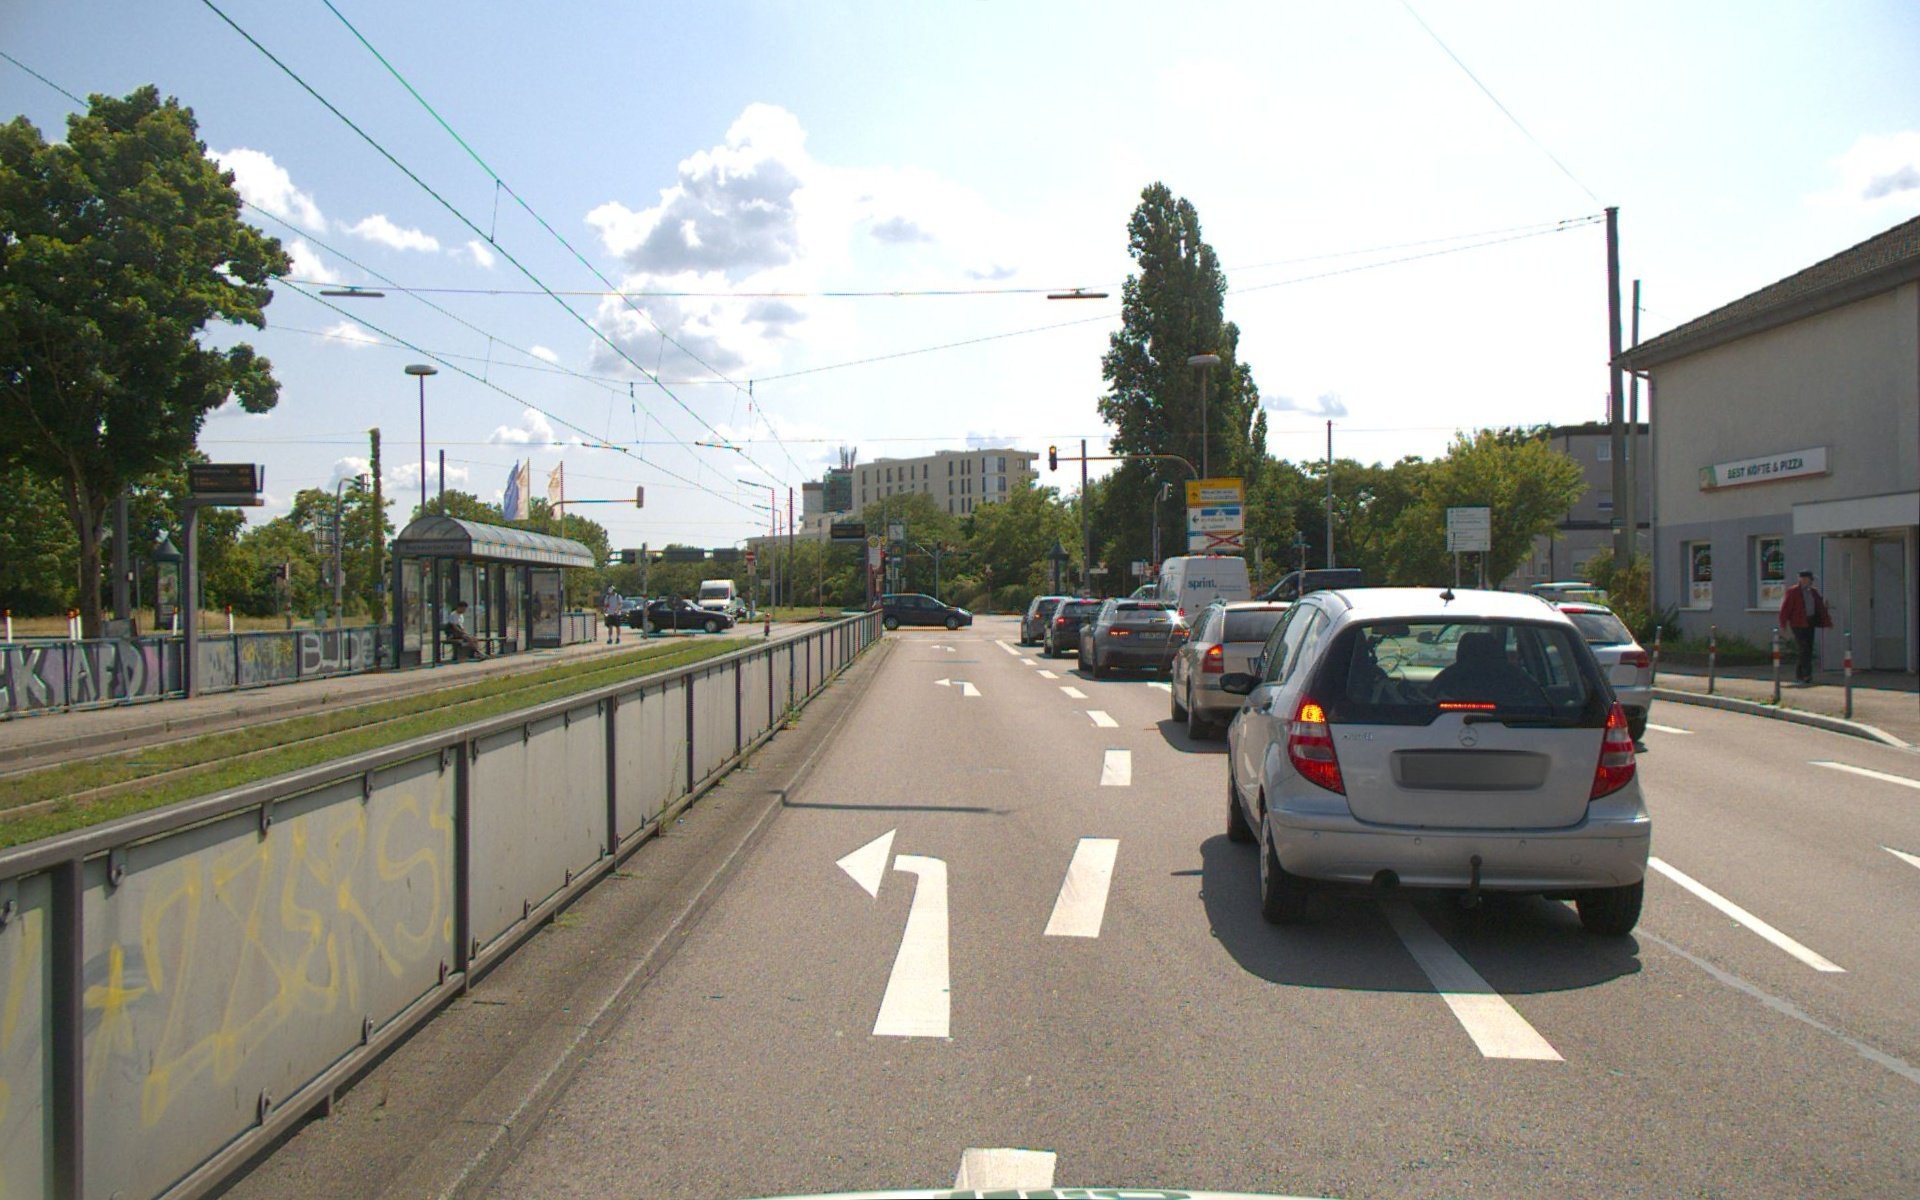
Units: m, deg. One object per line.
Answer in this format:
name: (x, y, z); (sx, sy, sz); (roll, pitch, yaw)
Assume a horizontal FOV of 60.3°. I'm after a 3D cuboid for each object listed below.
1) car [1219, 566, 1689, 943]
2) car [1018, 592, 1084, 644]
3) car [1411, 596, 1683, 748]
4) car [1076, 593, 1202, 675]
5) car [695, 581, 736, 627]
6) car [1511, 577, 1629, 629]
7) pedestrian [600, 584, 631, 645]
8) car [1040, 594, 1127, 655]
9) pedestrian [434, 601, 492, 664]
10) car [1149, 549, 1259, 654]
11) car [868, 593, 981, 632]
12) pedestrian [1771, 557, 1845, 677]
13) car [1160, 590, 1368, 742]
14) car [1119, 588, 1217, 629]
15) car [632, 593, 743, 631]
car: (2.440, 0.656, 9.175); (1.749, 1.604, 4.097); (-1, 0, 6)
car: (2.749, 0.515, 50.759); (1.709, 1.525, 4.378); (0, 0, -1)
car: (6.549, 0.721, 18.988); (1.815, 1.518, 4.538); (0, 0, 4)
car: (3.410, 0.600, 32.342); (1.849, 1.473, 4.827); (0, 0, -1)
car: (-14.697, 0.239, 99.552); (1.954, 2.651, 4.875); (1, 0, -3)
car: (22.241, 0.113, 60.287); (4.039, 1.761, 1.871); (-1, -2, -31)
pedestrian: (-10.506, 0.437, 50.477); (0.791, 1.826, 0.708); (-1, 0, -4)
car: (3.088, 0.585, 42.153); (1.831, 1.444, 4.099); (0, 0, -1)
pedestrian: (-11.125, 0.717, 37.044); (1.037, 1.400, 0.860); (1, 0, -1)
car: (6.373, 0.017, 43.844); (1.999, 2.602, 5.230); (-1, 0, -1)
car: (-1.482, 0.525, 70.458); (4.576, 1.576, 2.001); (-1, 0, 4)
pedestrian: (13.277, 0.263, 25.917); (0.706, 1.814, 0.703); (-3, 0, 1)
car: (3.329, 0.654, 18.911); (1.702, 1.518, 4.631); (0, 0, 2)
car: (10.239, 0.430, 81.643); (4.581, 1.970, 2.000); (0, 0, -1)
car: (-11.542, 0.513, 70.198); (4.369, 1.540, 2.000); (1, 0, -1)
